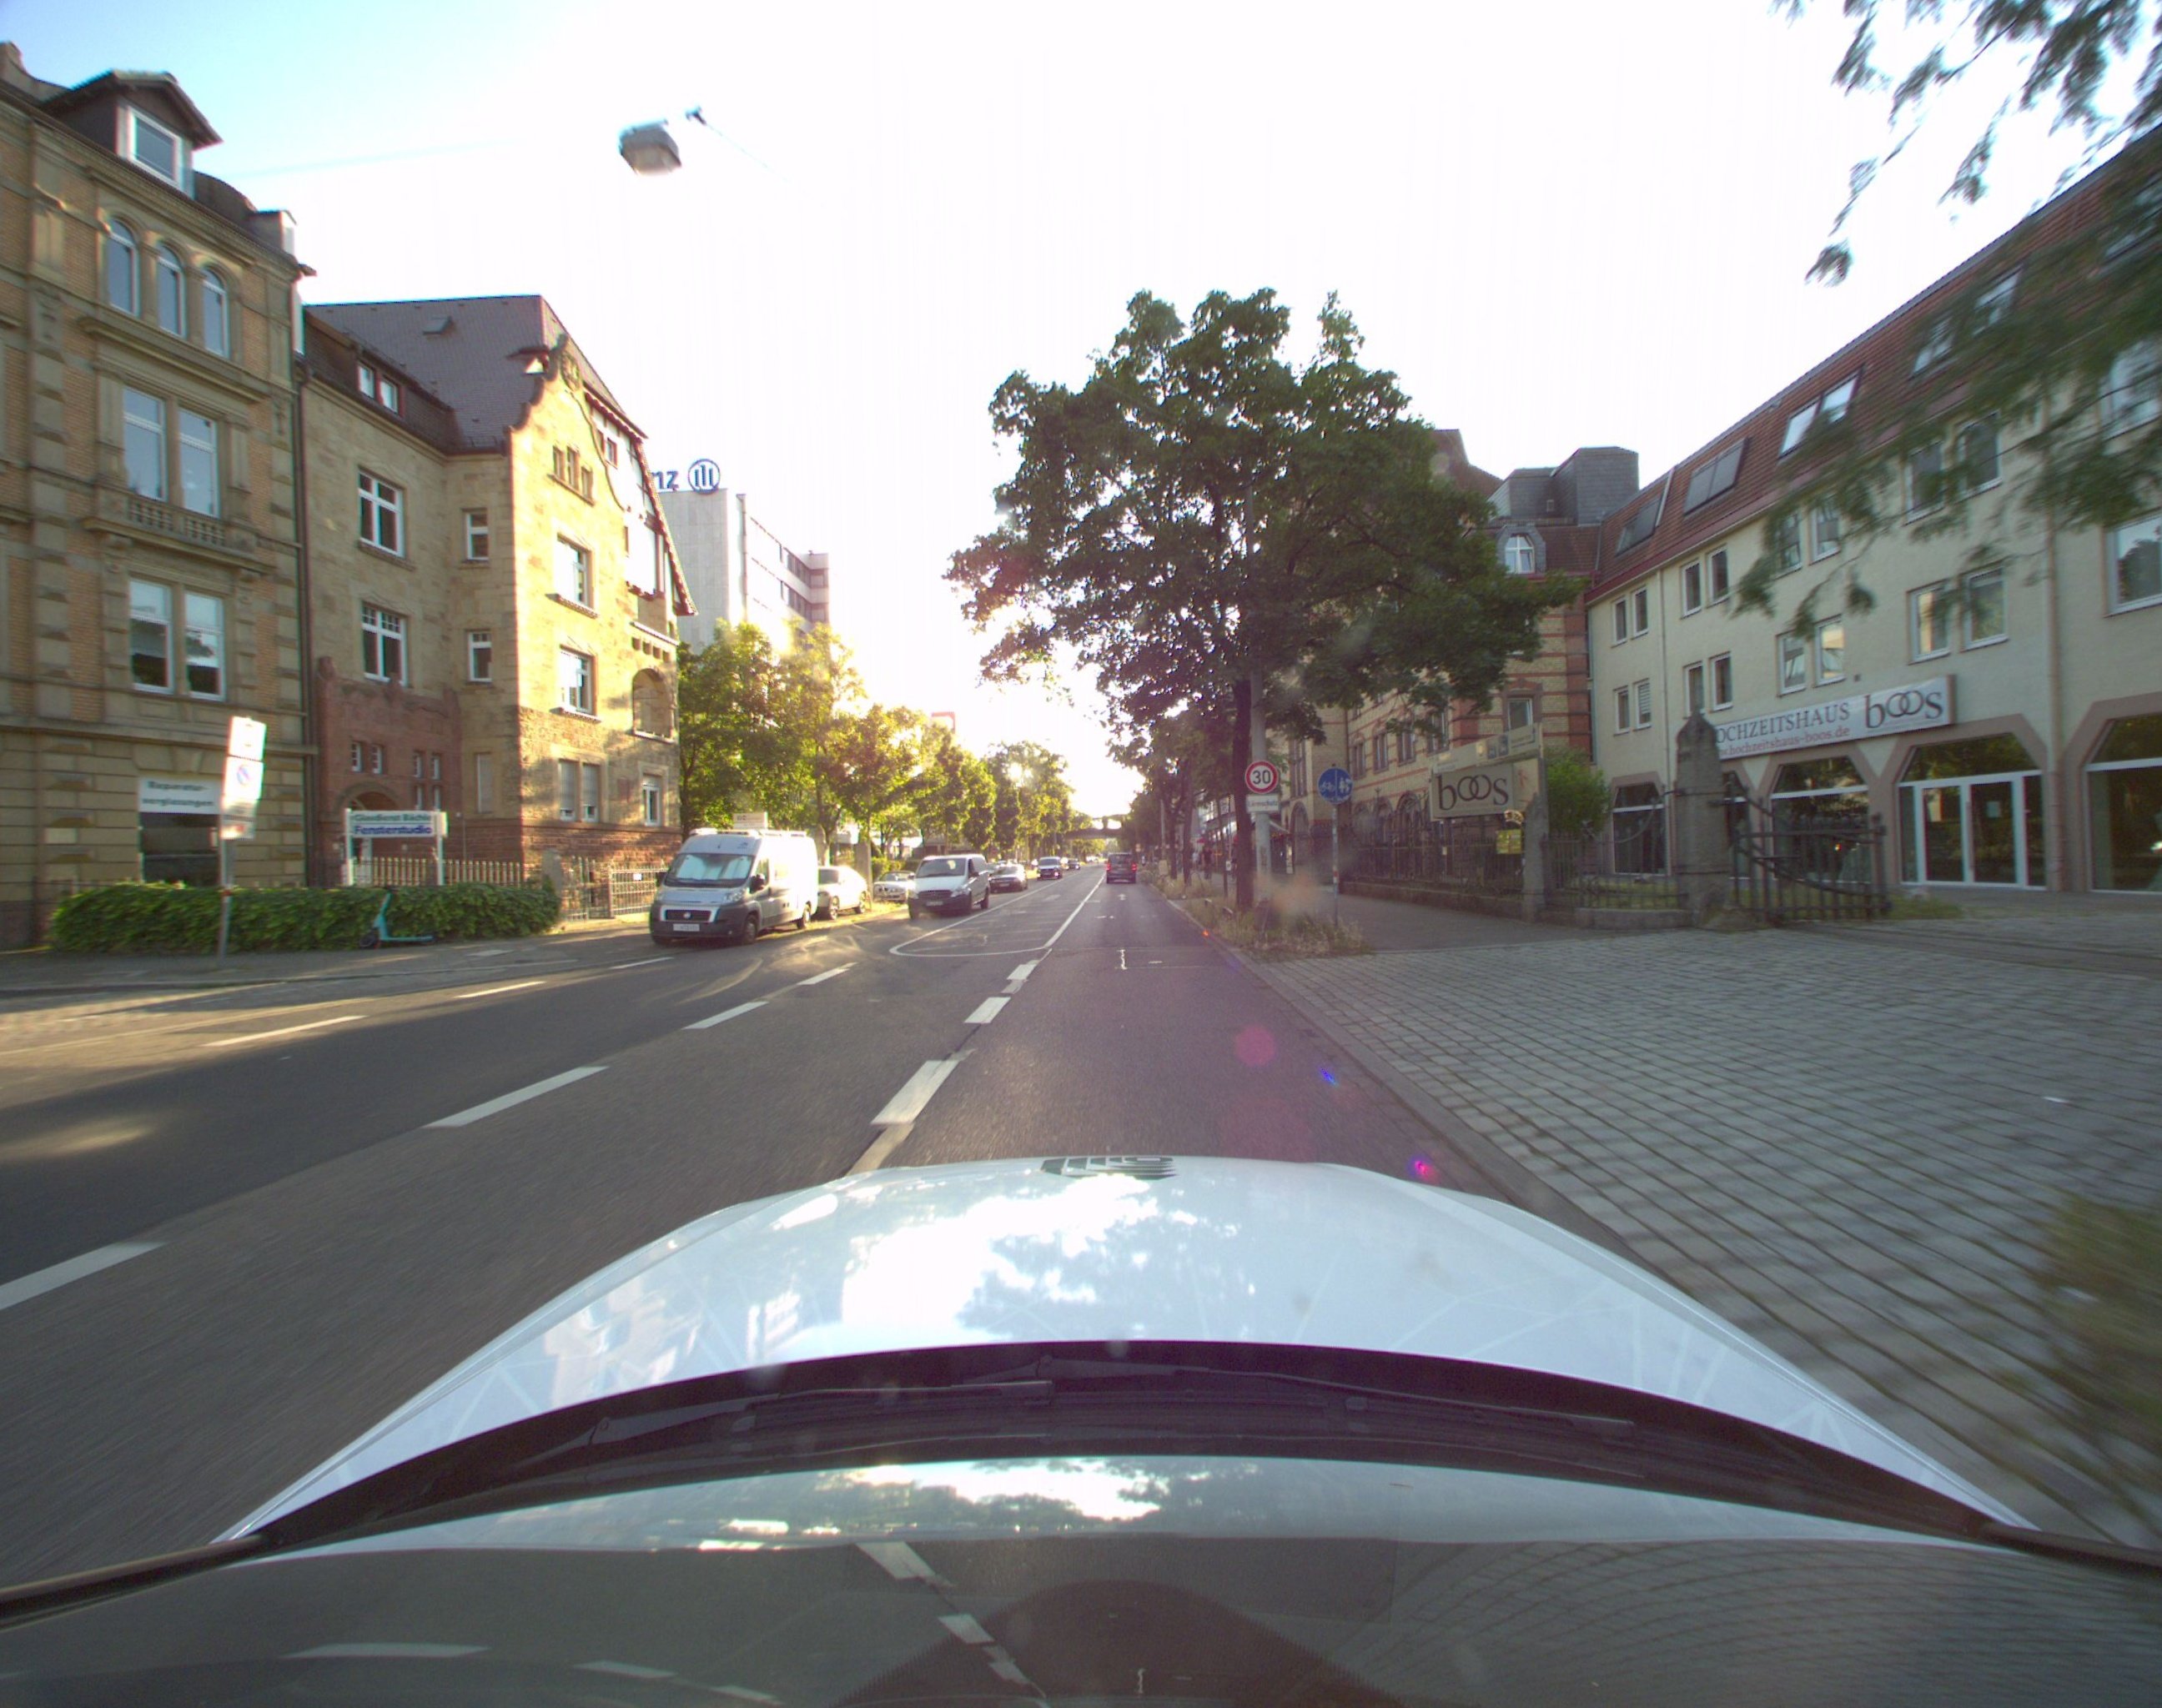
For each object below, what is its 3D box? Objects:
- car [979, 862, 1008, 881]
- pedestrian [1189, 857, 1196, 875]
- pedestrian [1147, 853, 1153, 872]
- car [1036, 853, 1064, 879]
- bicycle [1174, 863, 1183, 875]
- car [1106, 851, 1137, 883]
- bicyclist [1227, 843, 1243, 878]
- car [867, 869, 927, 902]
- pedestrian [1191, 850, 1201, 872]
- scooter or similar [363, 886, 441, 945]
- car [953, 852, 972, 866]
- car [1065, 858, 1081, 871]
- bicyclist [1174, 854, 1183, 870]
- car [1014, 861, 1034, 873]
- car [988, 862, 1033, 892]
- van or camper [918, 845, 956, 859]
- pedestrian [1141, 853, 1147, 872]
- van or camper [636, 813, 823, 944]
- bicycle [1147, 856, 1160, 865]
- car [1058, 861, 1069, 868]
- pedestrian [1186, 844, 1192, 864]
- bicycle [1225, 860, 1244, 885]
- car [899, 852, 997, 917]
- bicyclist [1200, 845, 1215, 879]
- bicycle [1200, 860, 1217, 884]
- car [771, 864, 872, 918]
[{"bbox_3d":[-6.542,1.293,60.968,1.632,1.385,4.001,0,0,2],"label":"car"},{"bbox_3d":[8.573,0.908,62.493,0.465,1.350,0.530,0,-1,3],"label":"pedestrian"},{"bbox_3d":[6.930,0.889,81.849,0.505,1.889,0.543,0,-1,-12],"label":"pedestrian"},{"bbox_3d":[-2.372,0.932,63.826,1.826,1.853,4.475,-3,0,2],"label":"car"},{"bbox_3d":[7.554,1.154,63.071,0.577,0.897,1.988,0,0,3],"label":"bicycle"},{"bbox_3d":[2.604,0.809,52.044,1.879,1.925,3.843,-2,0,3],"label":"car"},{"bbox_3d":[6.851,0.295,36.269,0.593,1.532,0.894,0,0,2],"label":"bicyclist"},{"bbox_3d":[-7.519,1.259,33.553,1.530,1.248,3.615,0,0,2],"label":"car"},{"bbox_3d":[8.623,0.525,61.187,0.642,1.633,0.656,0,-1,3],"label":"pedestrian"},{"bbox_3d":[-13.227,1.182,15.879,0.285,1.057,1.124,-3,-1,45],"label":"scooter or similar"},{"bbox_3d":[-19.239,0.814,132.576,1.985,2.308,5.248,0,0,3],"label":"car"},{"bbox_3d":[-1.002,1.313,105.053,1.672,1.530,4.003,-3,0,3],"label":"car"},{"bbox_3d":[7.564,0.638,63.057,0.583,1.236,1.112,0,0,2],"label":"bicyclist"},{"bbox_3d":[-6.967,1.568,100.043,1.985,1.414,4.240,0,0,3],"label":"car"},{"bbox_3d":[-3.738,1.188,43.742,1.752,1.386,4.307,-3,0,3],"label":"car"},{"bbox_3d":[-26.666,-0.430,150.743,6.540,2.522,2.449,0,0,0],"label":"van or camper"},{"bbox_3d":[6.350,0.877,82.347,0.505,1.889,0.543,0,-1,-12],"label":"pedestrian"},{"bbox_3d":[-8.090,0.508,19.562,1.988,2.669,6.034,0,0,-2],"label":"van or camper"},{"bbox_3d":[7.348,0.637,82.709,0.590,0.897,1.976,0,0,-17],"label":"bicycle"},{"bbox_3d":[-3.696,2.218,173.397,1.985,1.414,4.240,0,0,3],"label":"car"},{"bbox_3d":[13.870,0.017,104.550,0.712,2.539,0.825,0,-1,2],"label":"pedestrian"},{"bbox_3d":[6.815,0.809,36.200,0.515,1.040,2.090,0,0,2],"label":"bicycle"},{"bbox_3d":[-4.209,0.919,26.608,1.985,1.831,5.174,-3,0,3],"label":"car"},{"bbox_3d":[5.708,0.368,36.745,0.593,1.532,0.894,0,0,2],"label":"bicyclist"},{"bbox_3d":[5.719,0.793,36.586,0.542,1.040,2.090,0,0,2],"label":"bicycle"},{"bbox_3d":[-8.181,1.128,26.121,1.740,1.535,4.304,0,0,2],"label":"car"}]
